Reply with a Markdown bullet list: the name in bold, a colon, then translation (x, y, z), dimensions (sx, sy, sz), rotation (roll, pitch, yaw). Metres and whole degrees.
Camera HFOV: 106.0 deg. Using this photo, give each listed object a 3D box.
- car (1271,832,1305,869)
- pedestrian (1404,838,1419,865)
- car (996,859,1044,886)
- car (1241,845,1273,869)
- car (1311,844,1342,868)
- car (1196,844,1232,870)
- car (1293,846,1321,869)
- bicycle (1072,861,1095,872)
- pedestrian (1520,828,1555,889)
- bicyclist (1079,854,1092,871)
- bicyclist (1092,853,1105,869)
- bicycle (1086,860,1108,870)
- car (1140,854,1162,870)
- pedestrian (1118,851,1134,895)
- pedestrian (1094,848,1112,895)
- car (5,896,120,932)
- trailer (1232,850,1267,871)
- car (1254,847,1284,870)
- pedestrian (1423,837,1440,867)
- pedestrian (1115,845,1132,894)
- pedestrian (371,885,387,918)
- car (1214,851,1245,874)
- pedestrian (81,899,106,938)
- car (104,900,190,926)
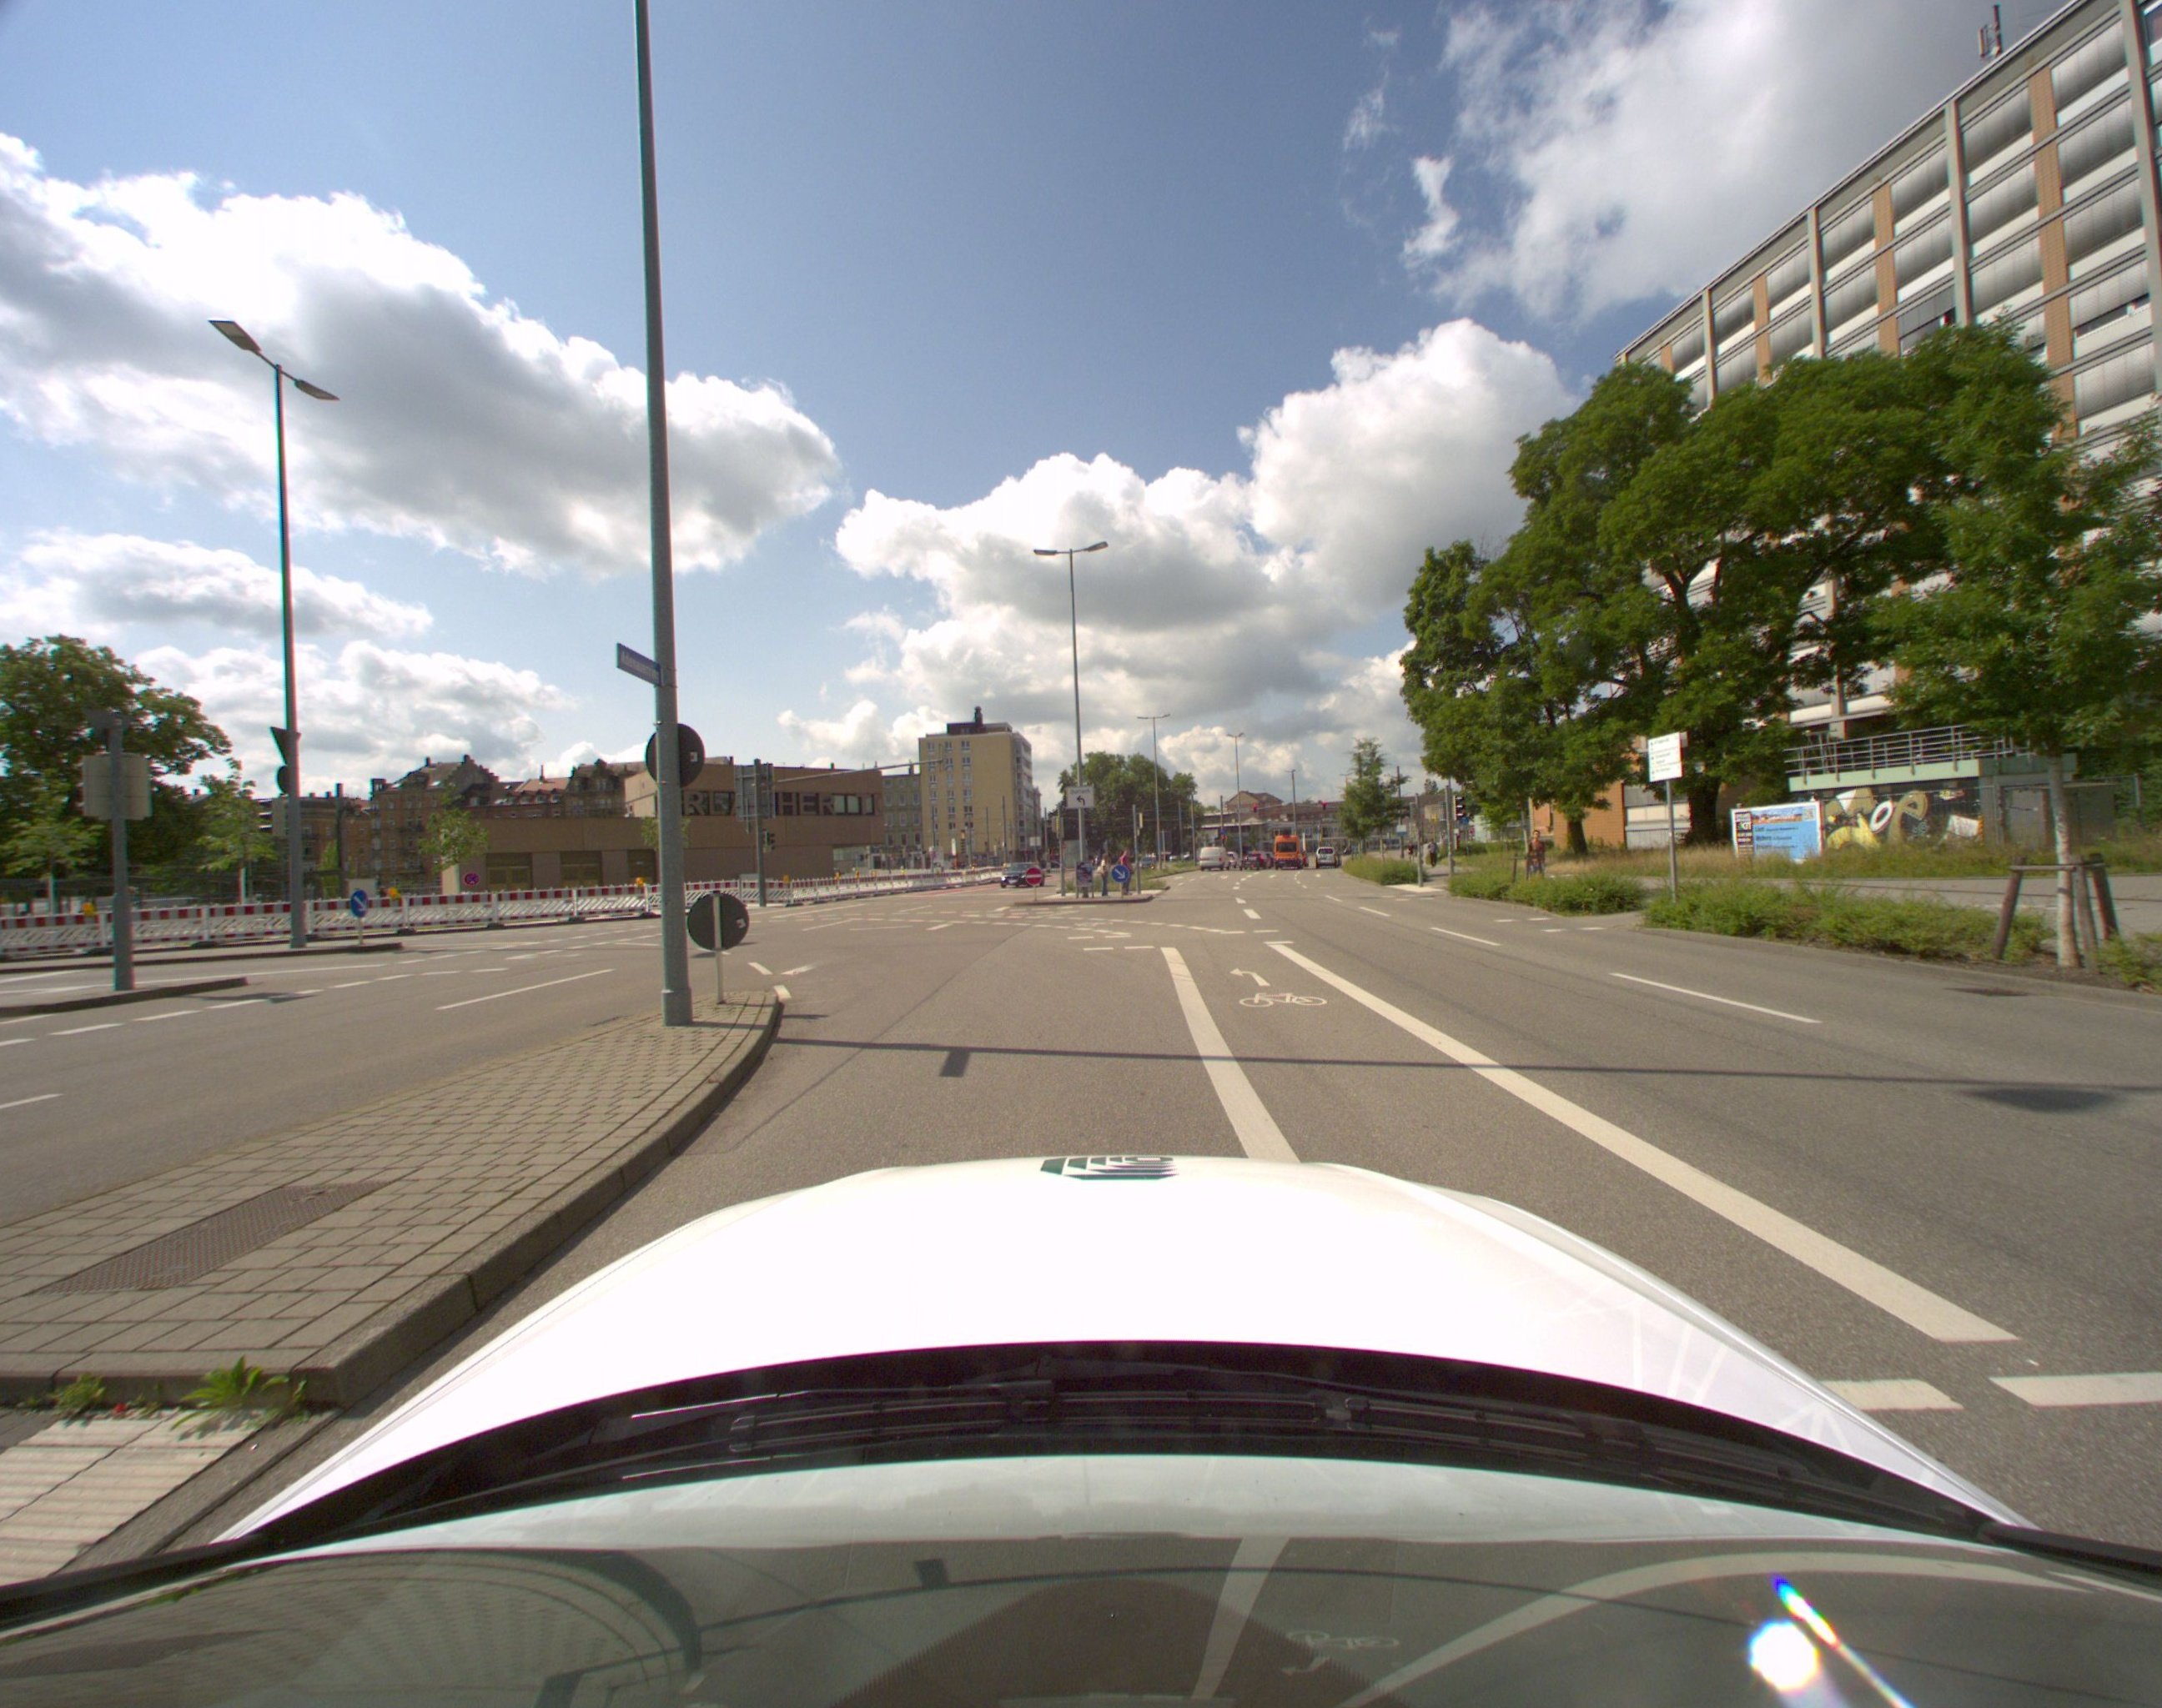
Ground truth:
- **car**: translation (17.021, -0.283, 66.785), dimensions (2.112, 2.780, 4.662), rotation (-3, -1, 20)
- **pedestrian**: translation (22.004, -0.161, 54.226), dimensions (0.781, 1.784, 0.670), rotation (-3, -1, 19)
- **car**: translation (-3.522, 1.055, 47.810), dimensions (1.781, 1.388, 4.238), rotation (-2, 0, 9)
- **car**: translation (15.027, 0.230, 69.437), dimensions (1.976, 1.826, 4.021), rotation (-3, -1, 22)
- **car**: translation (20.511, 0.128, 67.894), dimensions (1.976, 1.795, 4.022), rotation (-4, -1, 22)
- **car**: translation (11.211, 0.245, 68.566), dimensions (1.988, 1.966, 4.662), rotation (-3, -1, 20)
- **car**: translation (20.759, 0.329, 74.725), dimensions (1.975, 1.938, 4.662), rotation (-3, -1, 20)
- **bicycle**: translation (0.290, 1.414, 92.729), dimensions (2.360, 1.066, 0.862), rotation (-3, -1, 17)
- **pedestrian**: translation (13.461, 0.128, 24.022), dimensions (0.657, 1.733, 0.578), rotation (-3, 0, 4)
- **bicyclist**: translation (0.469, 0.987, 92.687), dimensions (1.210, 1.909, 0.862), rotation (-3, -1, 17)
- **bicyclist**: translation (2.073, 0.858, 97.328), dimensions (1.210, 1.909, 0.838), rotation (-3, -1, 17)
- **bicycle**: translation (1.920, 1.290, 97.370), dimensions (2.360, 1.066, 0.847), rotation (-3, -1, 17)
- **car**: translation (7.045, 0.788, 81.573), dimensions (1.650, 1.480, 4.077), rotation (0, 0, 14)
- **pedestrian**: translation (1.744, 0.726, 31.613), dimensions (0.522, 1.684, 0.625), rotation (-3, 0, 6)
- **pedestrian**: translation (0.822, 0.643, 30.460), dimensions (0.522, 1.733, 0.625), rotation (-3, 0, 6)
- **car**: translation (-63.118, 3.664, 50.594), dimensions (4.203, 1.882, 1.781), rotation (-2, -1, -43)
- **trailer**: translation (13.725, 0.521, 66.224), dimensions (1.976, 1.477, 4.021), rotation (-3, -1, 22)
- **car**: translation (17.472, 0.422, 75.598), dimensions (1.975, 1.938, 4.662), rotation (-3, -1, 20)
- **pedestrian**: translation (21.428, -0.116, 49.798), dimensions (0.781, 1.784, 0.670), rotation (-3, -1, 17)
- **pedestrian**: translation (1.540, 0.554, 29.405), dimensions (0.522, 1.733, 0.625), rotation (-3, 0, 6)
- **pedestrian**: translation (-44.495, 3.025, 51.587), dimensions (0.706, 2.013, 0.549), rotation (-2, -1, -42)
- **car**: translation (13.914, 0.743, 76.095), dimensions (1.975, 1.938, 4.662), rotation (-3, -1, 20)
- **pedestrian**: translation (-53.512, 3.485, 44.138), dimensions (0.767, 2.014, 0.741), rotation (-2, -1, -44)
- **car**: translation (-78.606, 4.929, 68.635), dimensions (4.389, 1.793, 1.765), rotation (-3, -1, -33)
